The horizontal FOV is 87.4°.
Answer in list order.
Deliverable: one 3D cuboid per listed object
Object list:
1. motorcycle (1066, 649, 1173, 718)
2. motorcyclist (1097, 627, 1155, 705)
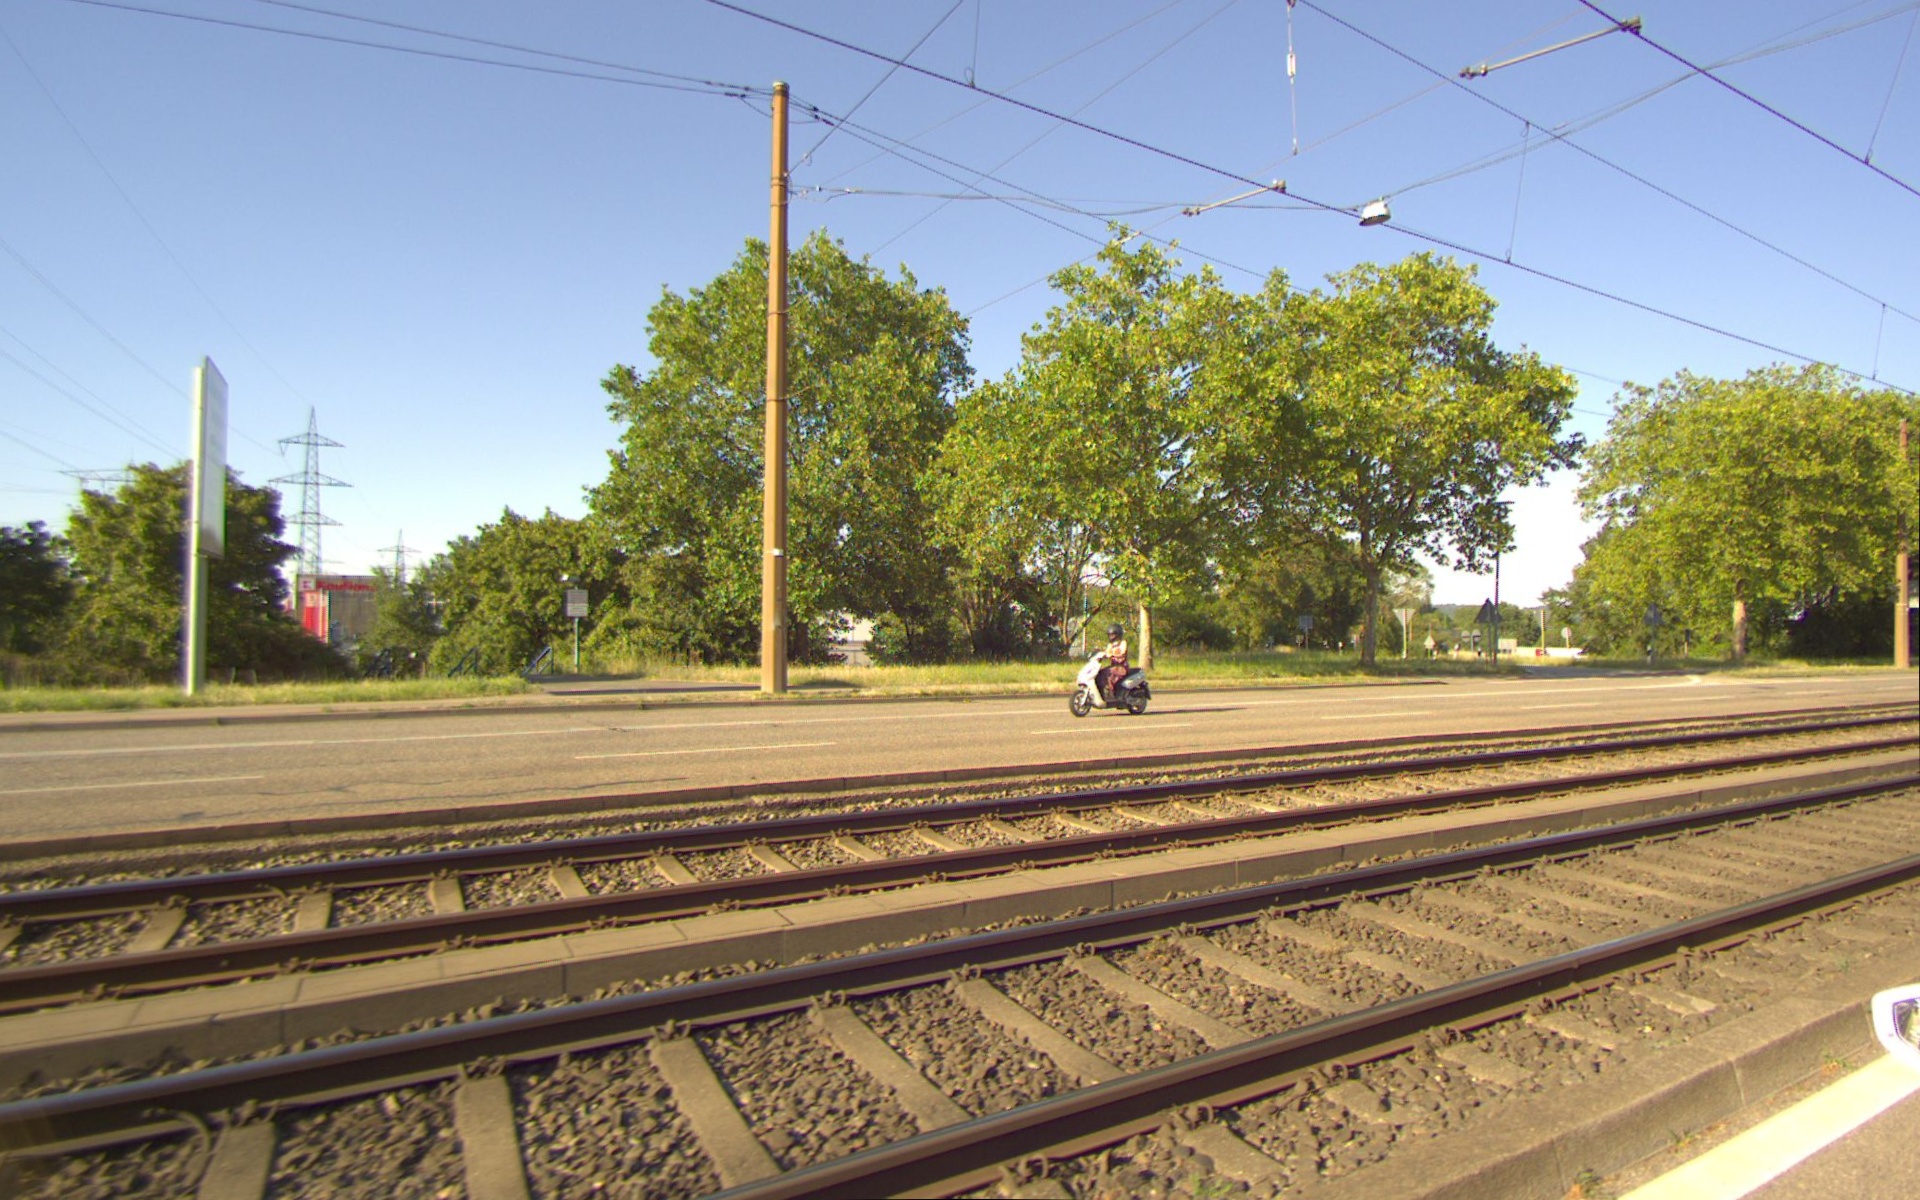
[{"bbox_3d":[2.754,1.412,17.240,1.880,1.105,0.533,2,1,-31],"label":"motorcycle"},{"bbox_3d":[2.850,1.119,17.291,0.795,1.287,0.533,1,1,-30],"label":"motorcyclist"}]
